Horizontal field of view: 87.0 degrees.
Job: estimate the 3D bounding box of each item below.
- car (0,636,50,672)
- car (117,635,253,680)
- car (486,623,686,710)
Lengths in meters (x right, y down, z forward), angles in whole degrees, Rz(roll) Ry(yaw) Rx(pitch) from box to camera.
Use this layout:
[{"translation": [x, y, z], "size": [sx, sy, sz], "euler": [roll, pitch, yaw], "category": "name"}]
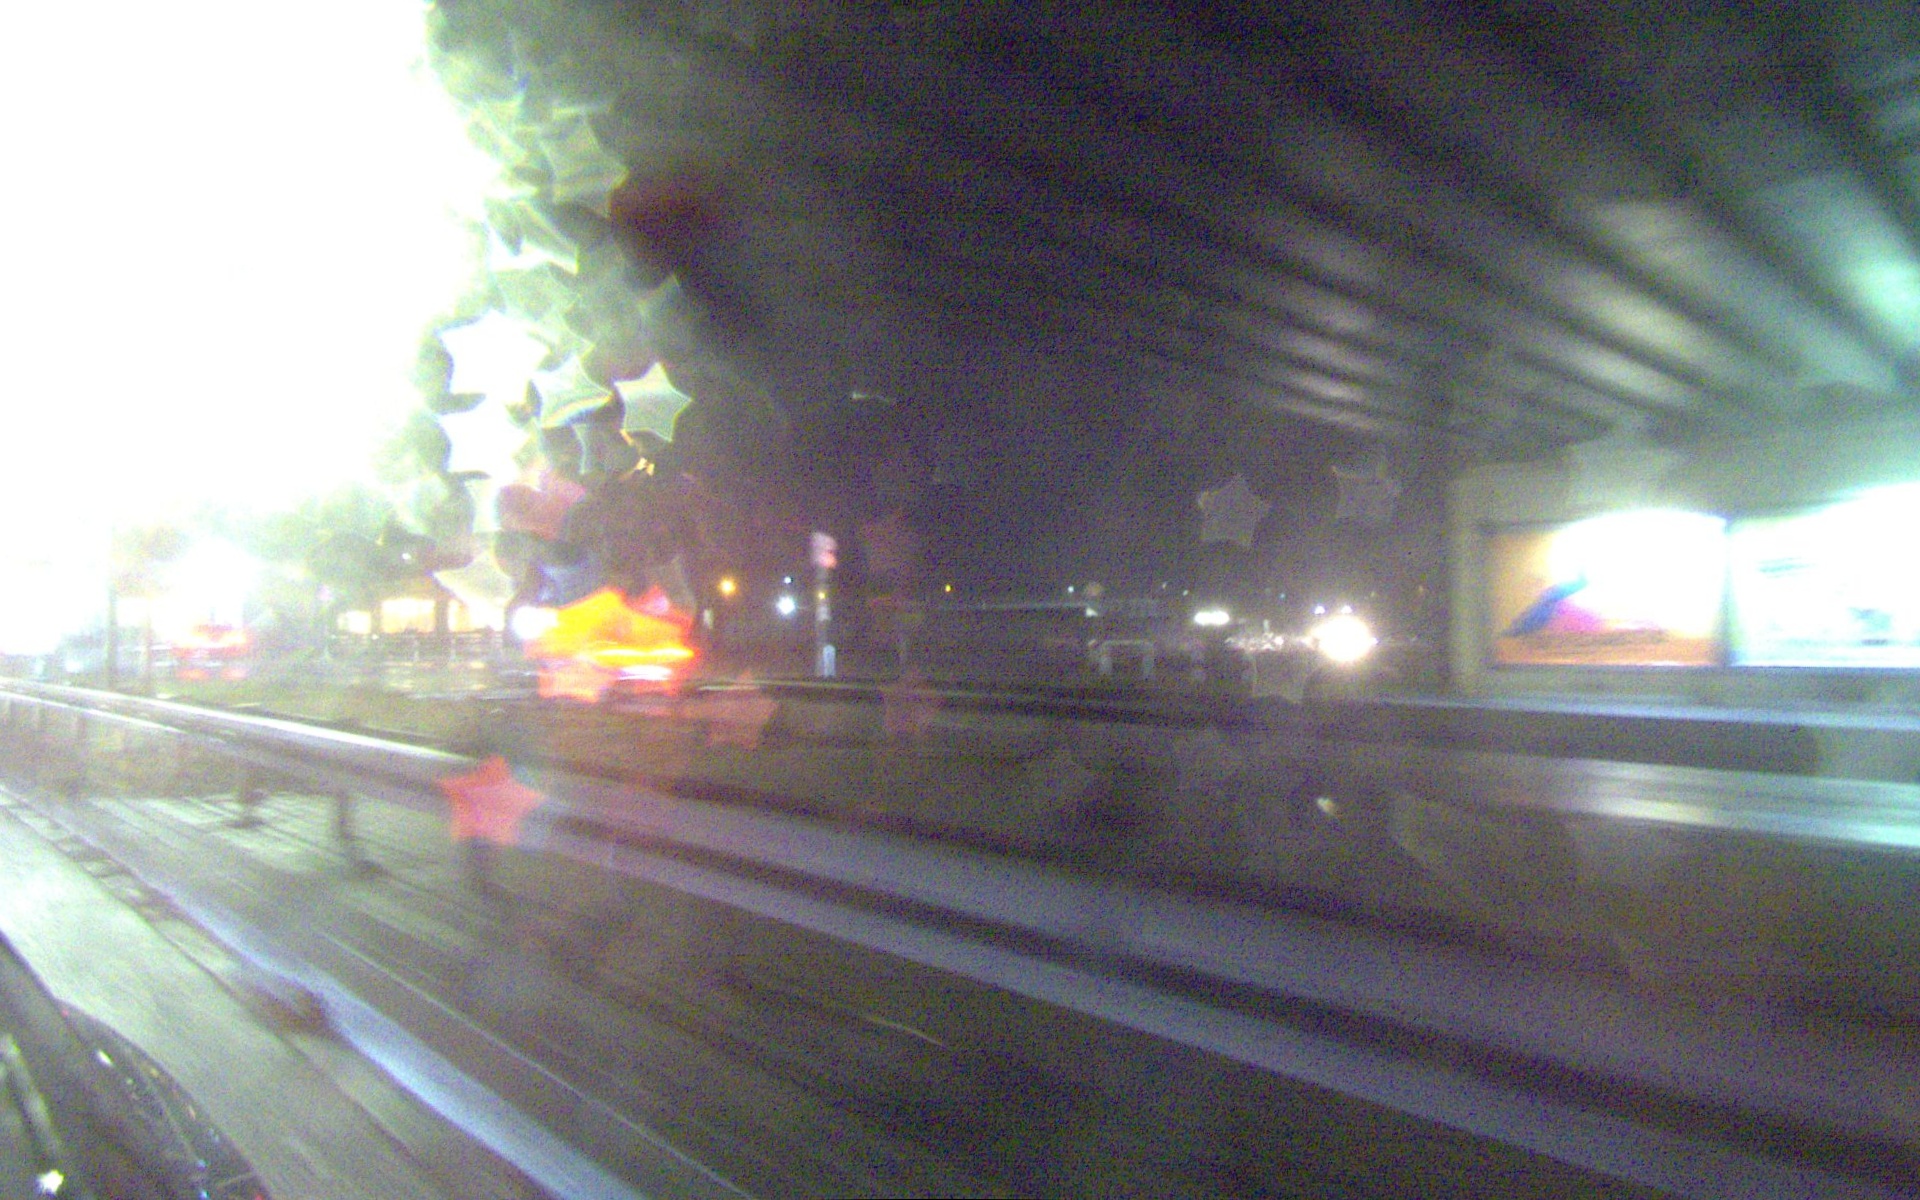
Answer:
[{"translation": [-40.106, 2.199, 41.863], "size": [4.811, 1.400, 1.886], "euler": [-1, -1, 24], "category": "car"}, {"translation": [-26.653, 1.946, 34.795], "size": [4.586, 1.400, 1.885], "euler": [-1, -1, 26], "category": "car"}, {"translation": [-7.449, 1.247, 19.993], "size": [4.302, 1.548, 1.583], "euler": [-1, -1, 35], "category": "car"}]
